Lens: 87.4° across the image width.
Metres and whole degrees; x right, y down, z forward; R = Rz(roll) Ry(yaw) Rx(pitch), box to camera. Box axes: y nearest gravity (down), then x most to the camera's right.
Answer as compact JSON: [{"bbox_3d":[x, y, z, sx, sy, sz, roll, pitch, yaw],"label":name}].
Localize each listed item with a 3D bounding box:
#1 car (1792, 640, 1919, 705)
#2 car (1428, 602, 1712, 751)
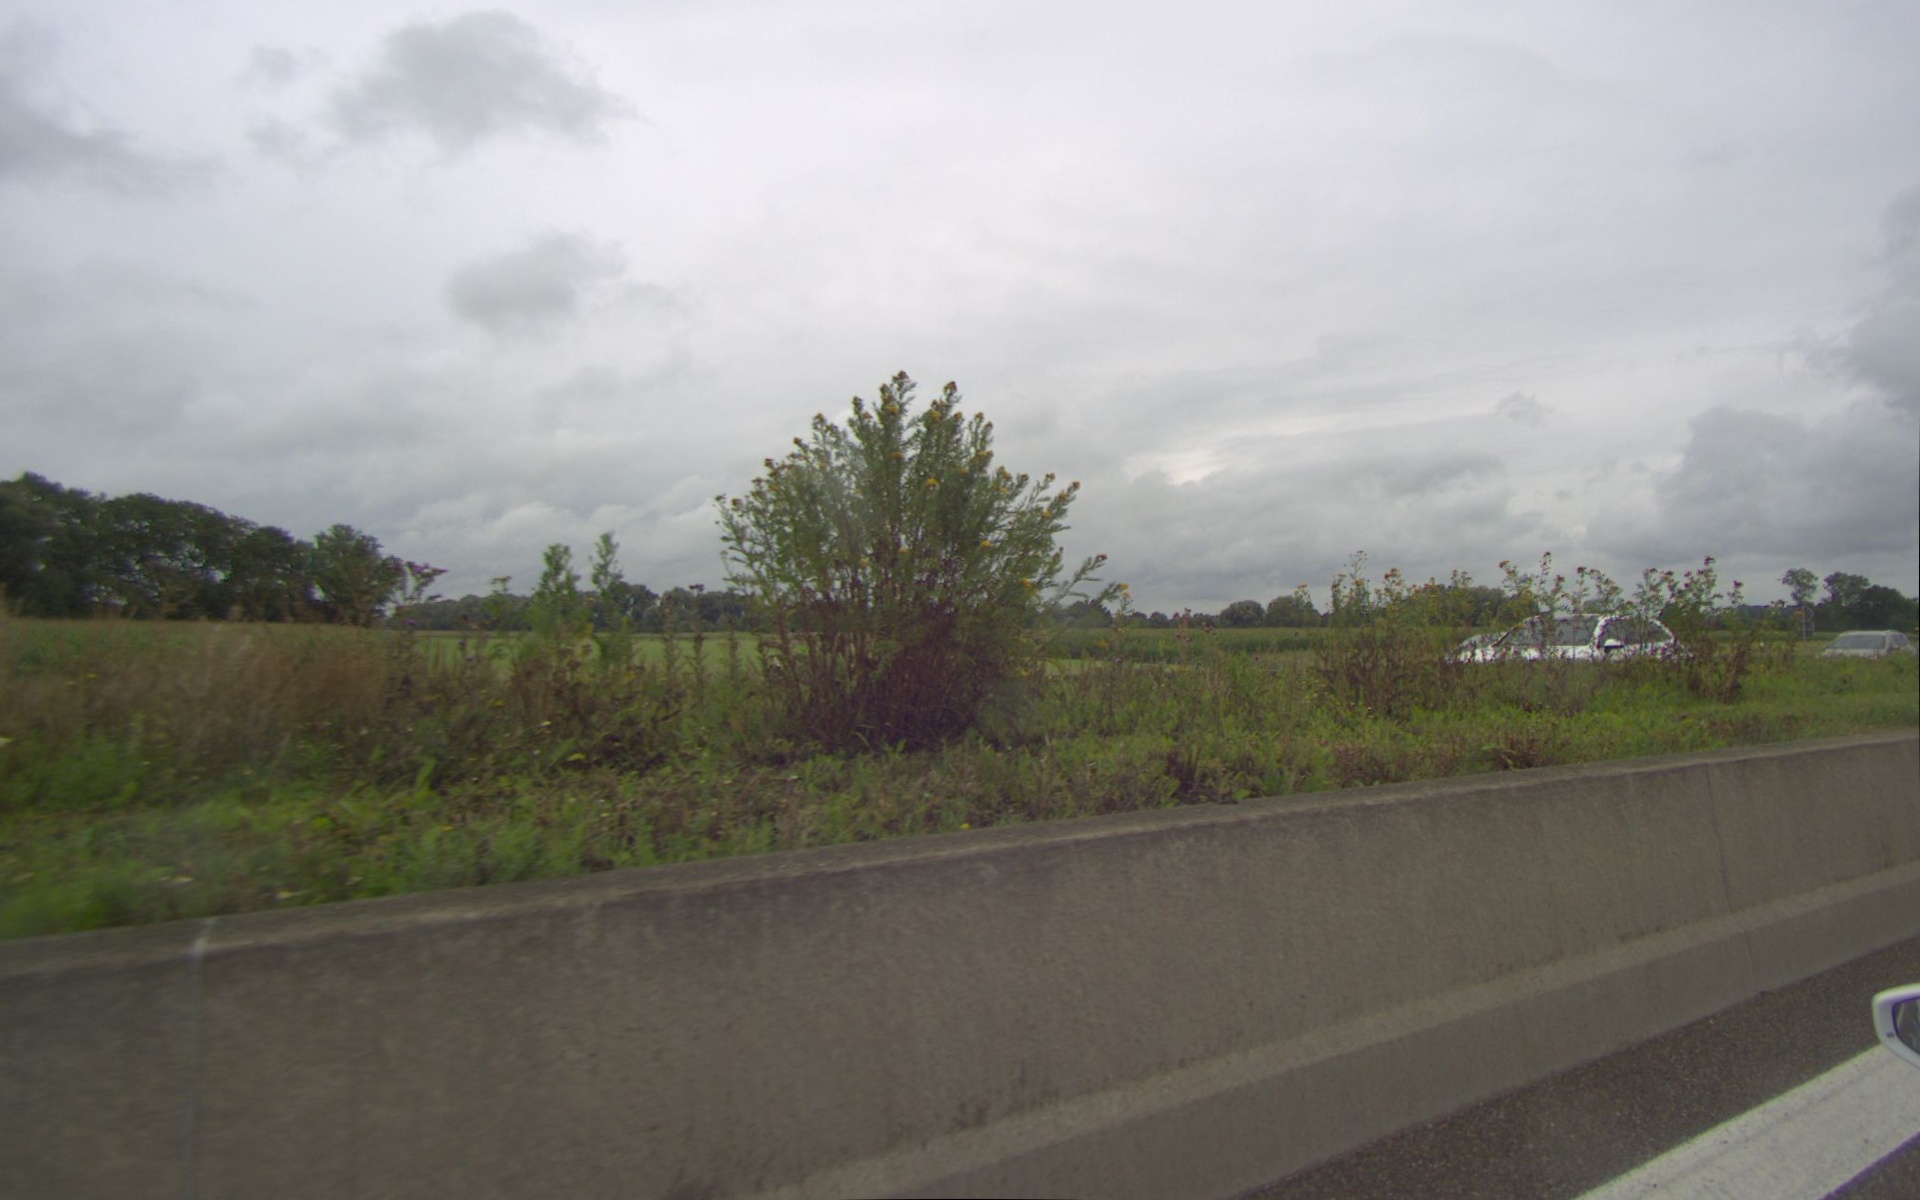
[{"bbox_3d":[29.643,2.336,33.168,4.297,2.040,1.984,1,-3,-30],"label":"car"},{"bbox_3d":[9.561,1.132,15.700,4.297,2.040,1.984,1,-3,-30],"label":"car"}]
